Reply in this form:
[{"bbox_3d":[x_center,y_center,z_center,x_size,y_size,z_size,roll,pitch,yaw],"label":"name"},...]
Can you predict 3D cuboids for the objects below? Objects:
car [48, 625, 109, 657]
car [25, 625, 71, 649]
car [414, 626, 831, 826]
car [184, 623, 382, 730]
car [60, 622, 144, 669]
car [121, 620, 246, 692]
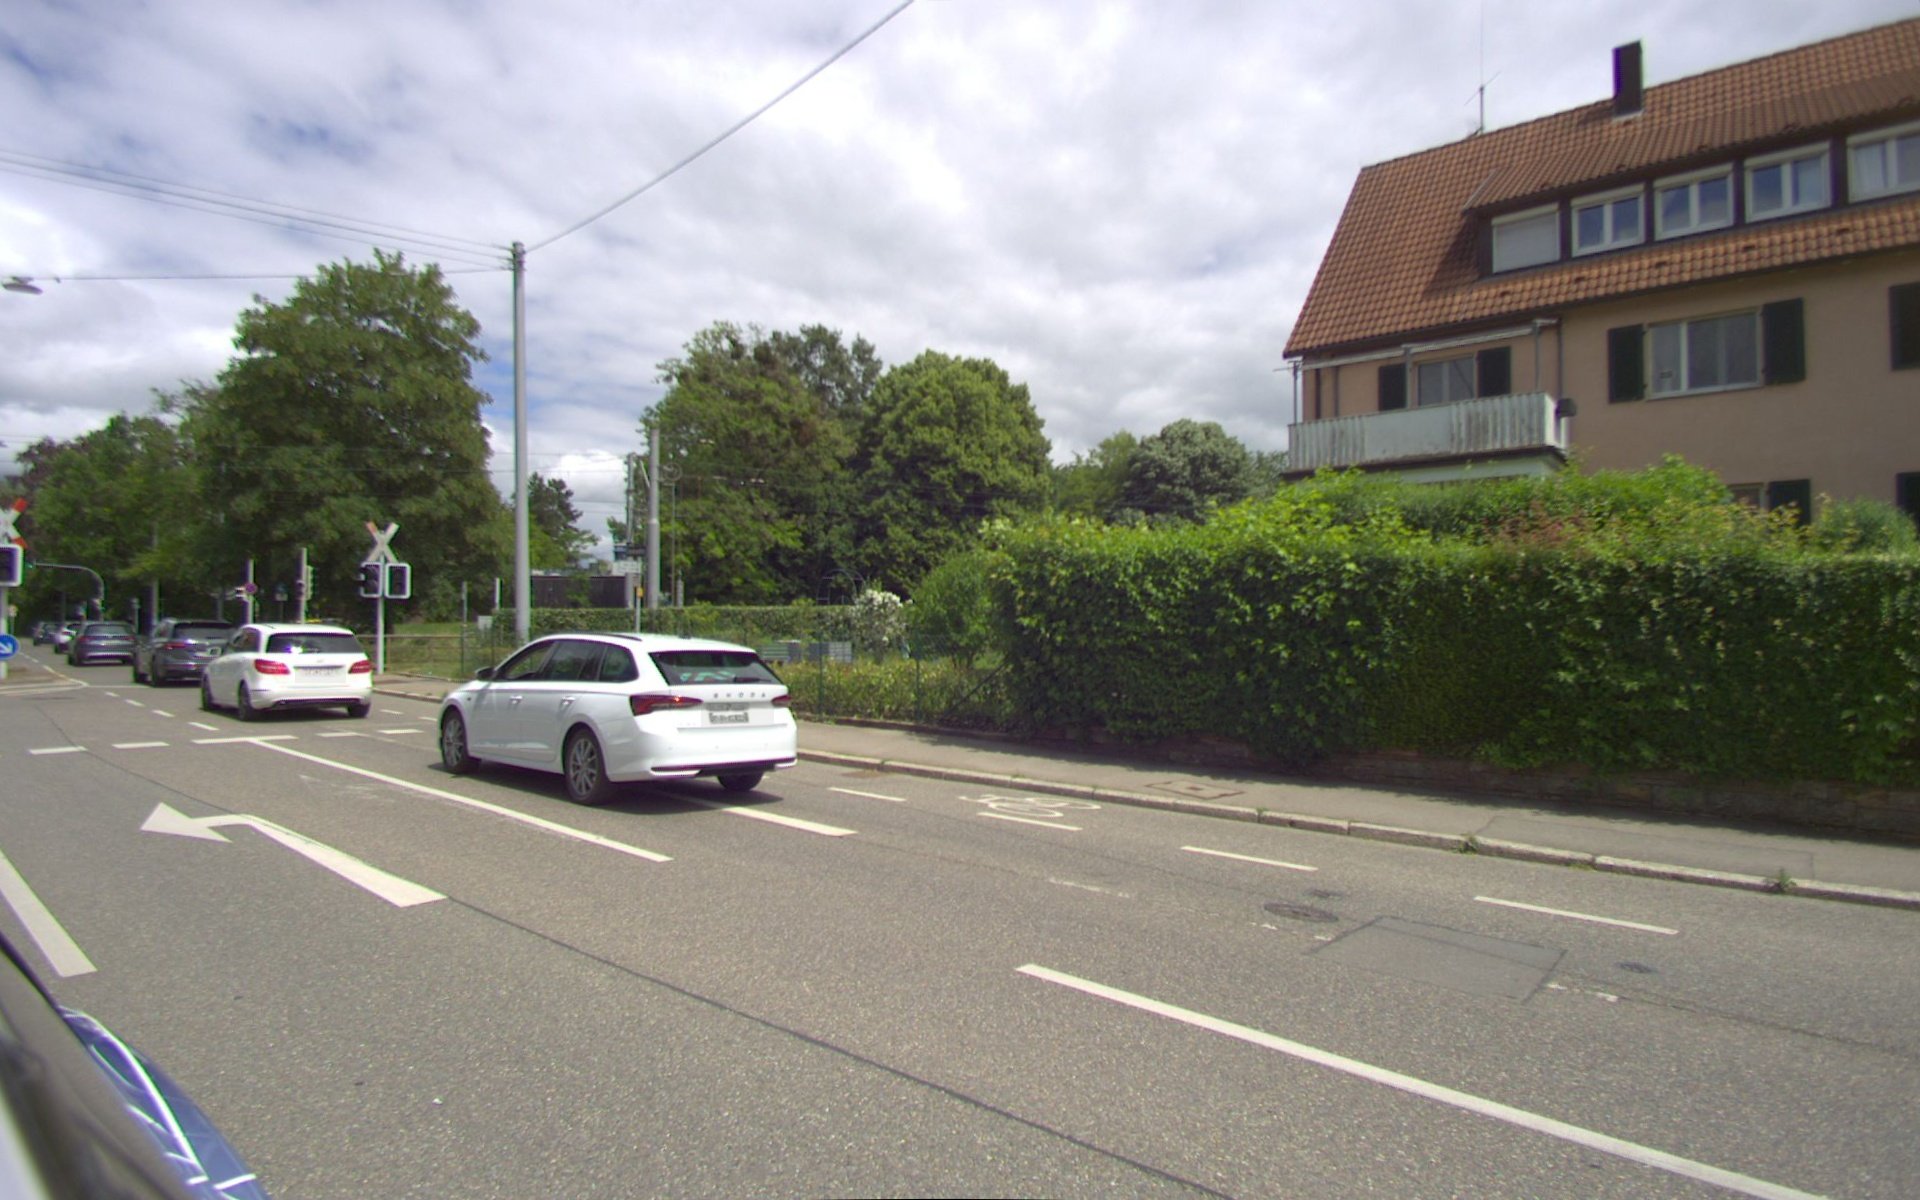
[{"bbox_3d":[-42.817,1.956,49.115,4.001,1.431,1.907,-1,-1,44],"label":"car"},{"bbox_3d":[-58.402,2.337,64.783,4.001,1.431,1.907,-1,-1,44],"label":"car"},{"bbox_3d":[-3.419,1.016,9.776,4.441,1.487,1.856,-1,-3,42],"label":"car"},{"bbox_3d":[-11.557,1.189,17.181,4.158,1.587,1.827,-1,-2,42],"label":"car"},{"bbox_3d":[-30.958,1.613,36.484,3.999,1.597,1.761,-1,-2,42],"label":"car"},{"bbox_3d":[-19.235,1.317,25.013,3.999,1.604,1.778,-1,-1,42],"label":"car"}]
